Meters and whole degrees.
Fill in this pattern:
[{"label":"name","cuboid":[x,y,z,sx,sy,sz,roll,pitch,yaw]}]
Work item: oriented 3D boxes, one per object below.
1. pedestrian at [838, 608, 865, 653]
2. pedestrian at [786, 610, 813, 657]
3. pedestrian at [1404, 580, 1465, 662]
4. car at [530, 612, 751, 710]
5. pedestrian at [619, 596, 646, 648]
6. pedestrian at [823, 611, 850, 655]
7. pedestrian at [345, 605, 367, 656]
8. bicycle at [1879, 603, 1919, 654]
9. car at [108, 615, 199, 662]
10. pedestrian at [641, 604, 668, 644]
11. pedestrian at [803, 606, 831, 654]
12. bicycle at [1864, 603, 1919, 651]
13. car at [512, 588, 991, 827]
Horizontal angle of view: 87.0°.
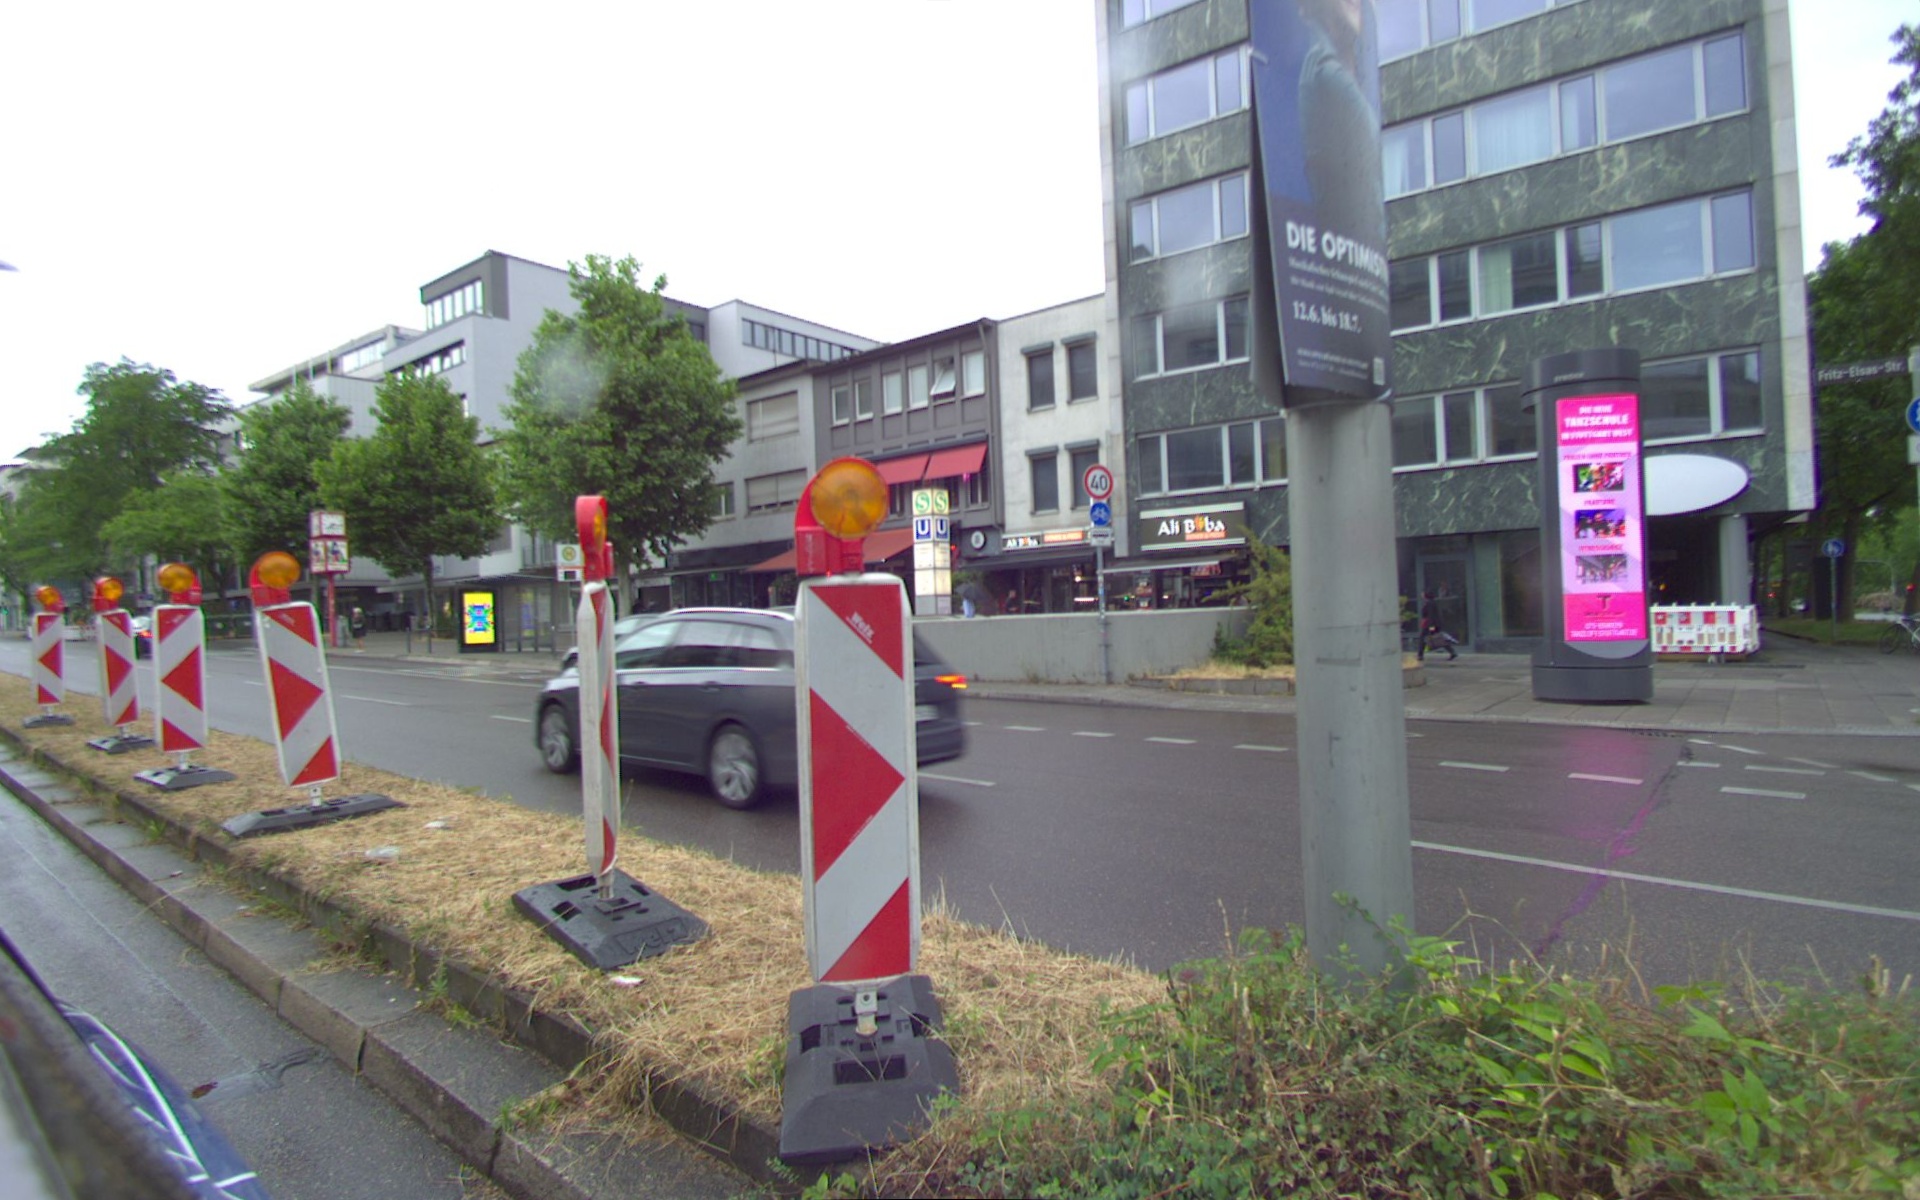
[{"label":"pedestrian","cuboid":[-3.762,1.045,35.017,0.611,1.540,0.660,-2,-1,44]},{"label":"pedestrian","cuboid":[-5.447,1.129,34.310,0.611,1.540,0.660,-2,-1,44]},{"label":"pedestrian","cuboid":[10.544,0.449,22.473,1.029,1.747,1.194,-1,0,34]},{"label":"car","cuboid":[-5.787,0.995,18.096,4.207,1.442,1.671,1,1,38]},{"label":"pedestrian","cuboid":[-12.958,0.844,40.093,0.764,2.029,0.768,-1,0,-41]},{"label":"pedestrian","cuboid":[-4.330,1.148,35.472,0.611,1.540,0.660,-2,-1,44]},{"label":"pedestrian","cuboid":[-22.174,1.115,37.139,0.567,1.839,0.581,-1,0,-43]},{"label":"bicycle","cuboid":[20.759,0.597,21.482,1.780,1.060,0.579,-2,-1,37]},{"label":"car","cuboid":[-29.268,1.346,36.688,4.415,1.566,1.671,-1,0,39]},{"label":"pedestrian","cuboid":[-12.314,0.945,40.793,0.764,1.577,0.768,-1,0,-41]},{"label":"pedestrian","cuboid":[-4.742,0.989,33.561,0.611,1.540,0.660,-2,-1,44]},{"label":"bicycle","cuboid":[21.255,0.591,22.390,1.780,1.060,0.579,-2,-1,37]},{"label":"car","cuboid":[-1.934,0.729,8.513,4.288,1.522,1.670,-2,-1,40]}]
